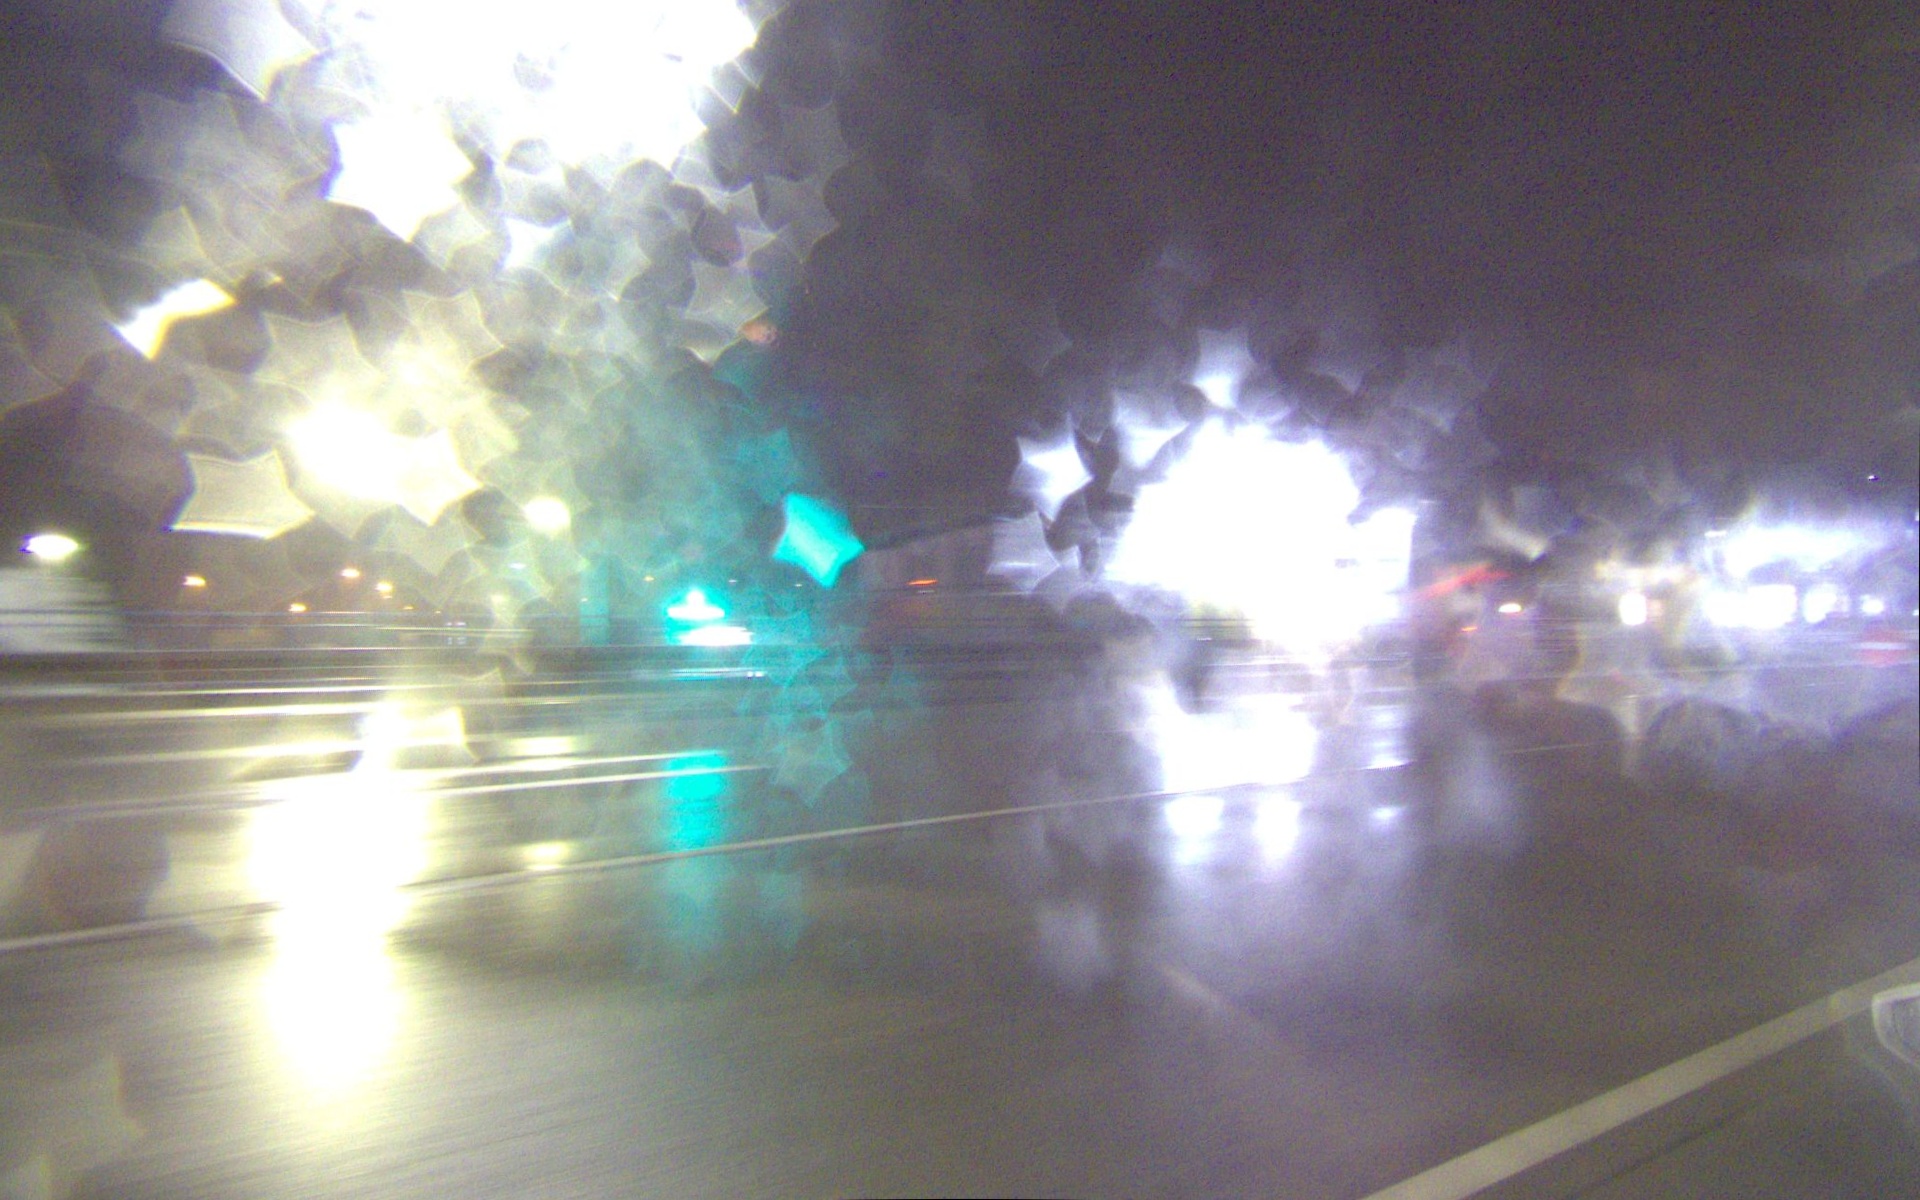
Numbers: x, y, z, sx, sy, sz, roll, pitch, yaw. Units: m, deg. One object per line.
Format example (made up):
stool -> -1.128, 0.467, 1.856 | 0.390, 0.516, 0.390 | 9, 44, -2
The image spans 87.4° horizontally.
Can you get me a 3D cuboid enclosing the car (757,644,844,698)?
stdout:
car -> -5.656, 2.476, 35.243 | 1.777, 1.745, 4.402 | 0, -3, -26
